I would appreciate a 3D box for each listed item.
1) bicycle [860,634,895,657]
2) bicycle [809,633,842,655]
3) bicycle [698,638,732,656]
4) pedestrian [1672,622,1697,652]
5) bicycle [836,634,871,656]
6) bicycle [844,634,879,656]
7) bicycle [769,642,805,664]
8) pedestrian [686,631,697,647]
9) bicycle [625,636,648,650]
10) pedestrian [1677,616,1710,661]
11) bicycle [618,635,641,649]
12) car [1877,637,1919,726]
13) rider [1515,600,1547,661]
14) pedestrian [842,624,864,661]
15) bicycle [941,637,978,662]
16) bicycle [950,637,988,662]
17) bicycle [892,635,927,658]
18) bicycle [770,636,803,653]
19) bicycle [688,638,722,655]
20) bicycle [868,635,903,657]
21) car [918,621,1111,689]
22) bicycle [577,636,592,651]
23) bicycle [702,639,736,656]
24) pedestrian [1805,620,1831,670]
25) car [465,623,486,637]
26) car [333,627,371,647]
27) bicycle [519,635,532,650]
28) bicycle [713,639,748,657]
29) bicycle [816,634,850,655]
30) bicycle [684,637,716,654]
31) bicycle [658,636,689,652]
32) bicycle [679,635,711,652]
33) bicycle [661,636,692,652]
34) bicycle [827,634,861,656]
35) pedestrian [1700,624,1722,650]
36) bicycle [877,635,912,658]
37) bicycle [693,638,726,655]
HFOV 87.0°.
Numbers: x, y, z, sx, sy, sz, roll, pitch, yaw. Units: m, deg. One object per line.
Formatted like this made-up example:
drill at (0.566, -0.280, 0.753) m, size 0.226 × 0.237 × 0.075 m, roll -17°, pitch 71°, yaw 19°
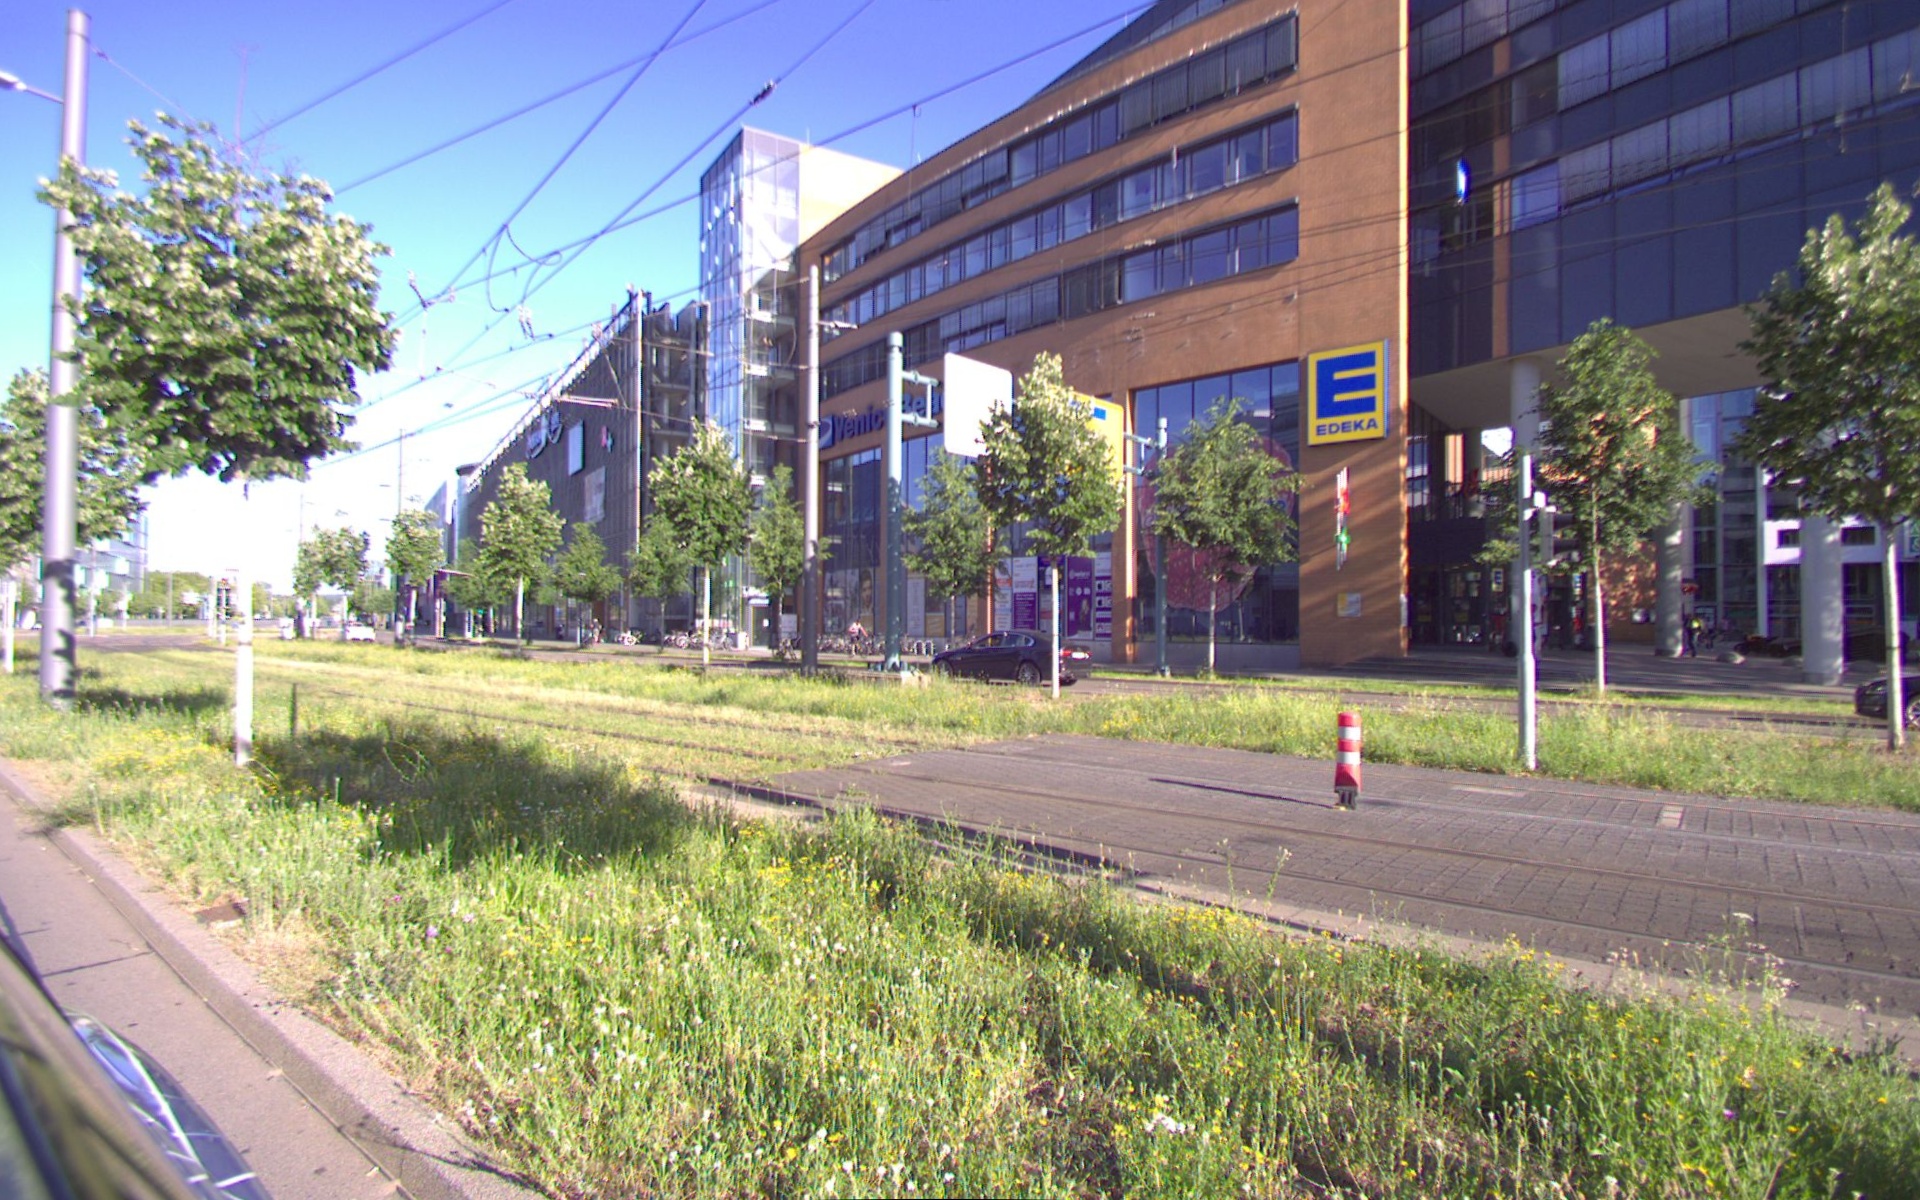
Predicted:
bicycle at (-3.993, 2.197, 48.812) m, size 1.744 × 1.057 × 0.491 m, roll 1°, pitch -2°, yaw -42°
bicycle at (-6.876, 2.246, 51.794) m, size 1.744 × 1.057 × 0.491 m, roll 1°, pitch -2°, yaw -42°
bicycle at (-13.669, 2.607, 56.398) m, size 1.741 × 0.933 × 0.566 m, roll 1°, pitch -2°, yaw -33°
pedestrian at (36.803, 1.860, 51.385) m, size 1.038 × 1.491 × 0.660 m, roll 0°, pitch 0°, yaw -32°
bicycle at (-5.266, 2.219, 50.149) m, size 1.744 × 1.057 × 0.491 m, roll 1°, pitch -2°, yaw -42°
bicycle at (-4.814, 2.211, 49.639) m, size 1.744 × 1.057 × 0.491 m, roll 1°, pitch -2°, yaw -42°
bicycle at (-7.166, 2.177, 41.786) m, size 1.771 × 0.875 × 0.458 m, roll -1°, pitch -2°, yaw 42°
pedestrian at (-17.929, 2.593, 67.607) m, size 0.619 × 1.063 × 0.450 m, roll 1°, pitch -2°, yaw -36°
bicycle at (-21.158, 2.799, 66.195) m, size 1.377 × 0.933 × 0.463 m, roll 1°, pitch -2°, yaw -33°
pedestrian at (28.705, 1.490, 39.602) m, size 0.778 × 1.720 × 0.810 m, roll 0°, pitch 0°, yaw -32°
bicycle at (-22.017, 2.815, 67.506) m, size 1.377 × 0.933 × 0.463 m, roll 1°, pitch -2°, yaw -33°
car at (17.360, 1.333, 15.909) m, size 4.136 × 1.433 × 1.707 m, roll -1°, pitch -4°, yaw 36°
rider at (17.362, 0.913, 30.769) m, size 0.712 × 1.816 × 0.710 m, roll -1°, pitch -2°, yaw 42°
pedestrian at (-4.868, 1.923, 45.999) m, size 0.736 × 1.681 × 0.676 m, roll 1°, pitch -2°, yaw -43°
bicycle at (-0.013, 2.124, 43.587) m, size 1.744 × 1.057 × 0.491 m, roll 1°, pitch -2°, yaw -42°
bicycle at (0.393, 2.106, 43.159) m, size 1.744 × 1.057 × 0.491 m, roll 1°, pitch -2°, yaw -42°
bicycle at (-2.364, 2.171, 47.657) m, size 1.744 × 1.057 × 0.491 m, roll 1°, pitch -2°, yaw -42°
bicycle at (-9.616, 2.454, 56.083) m, size 1.741 × 0.933 × 0.566 m, roll 1°, pitch -2°, yaw -33°
bicycle at (-14.509, 2.623, 57.613) m, size 1.741 × 0.933 × 0.566 m, roll 1°, pitch -2°, yaw -33°
bicycle at (-3.561, 2.189, 48.300) m, size 1.744 × 1.057 × 0.491 m, roll 1°, pitch -2°, yaw -42°
car at (1.338, 1.387, 26.075) m, size 4.736 × 1.608 × 1.973 m, roll -1°, pitch -5°, yaw 41°
bicycle at (-22.728, 2.639, 61.211) m, size 0.380 × 0.875 × 1.775 m, roll 1°, pitch -2°, yaw -36°
bicycle at (-13.263, 2.599, 55.719) m, size 1.741 × 0.933 × 0.566 m, roll 1°, pitch -2°, yaw -33°
pedestrian at (25.891, 1.347, 30.534) m, size 0.572 × 1.491 × 0.447 m, roll -1°, pitch -1°, yaw 41°
car at (-56.764, 3.525, 118.498) m, size 1.559 × 1.541 × 3.759 m, roll 0°, pitch 0°, yaw -37°
car at (-42.146, 2.540, 70.105) m, size 1.782 × 1.338 × 4.415 m, roll 2°, pitch -2°, yaw -36°
bicycle at (-27.417, 2.662, 63.833) m, size 0.380 × 0.930 × 1.775 m, roll 1°, pitch -2°, yaw -36°
bicycle at (-12.478, 2.586, 54.989) m, size 1.741 × 0.933 × 0.566 m, roll 1°, pitch -2°, yaw -33°
bicycle at (-6.462, 2.239, 51.361) m, size 1.744 × 1.057 × 0.491 m, roll 1°, pitch -2°, yaw -42°
bicycle at (-14.937, 2.631, 58.159) m, size 1.741 × 0.933 × 0.566 m, roll 1°, pitch -2°, yaw -33°
bicycle at (-17.589, 2.681, 62.118) m, size 1.741 × 0.933 × 0.492 m, roll 1°, pitch -2°, yaw -33°
bicycle at (-15.569, 2.555, 59.423) m, size 1.741 × 0.933 × 0.492 m, roll 1°, pitch -2°, yaw -33°
bicycle at (-17.222, 2.674, 61.529) m, size 1.741 × 0.933 × 0.566 m, roll 1°, pitch -2°, yaw -33°
bicycle at (-5.813, 2.228, 50.640) m, size 1.744 × 1.057 × 0.491 m, roll 1°, pitch -2°, yaw -42°
pedestrian at (38.246, 1.898, 51.541) m, size 0.627 × 1.287 × 0.664 m, roll 0°, pitch 0°, yaw -32°
bicycle at (-3.087, 2.181, 47.828) m, size 1.744 × 1.057 × 0.491 m, roll 1°, pitch -2°, yaw -42°
bicycle at (-14.121, 2.616, 57.065) m, size 1.741 × 0.933 × 0.566 m, roll 1°, pitch -2°, yaw -33°
